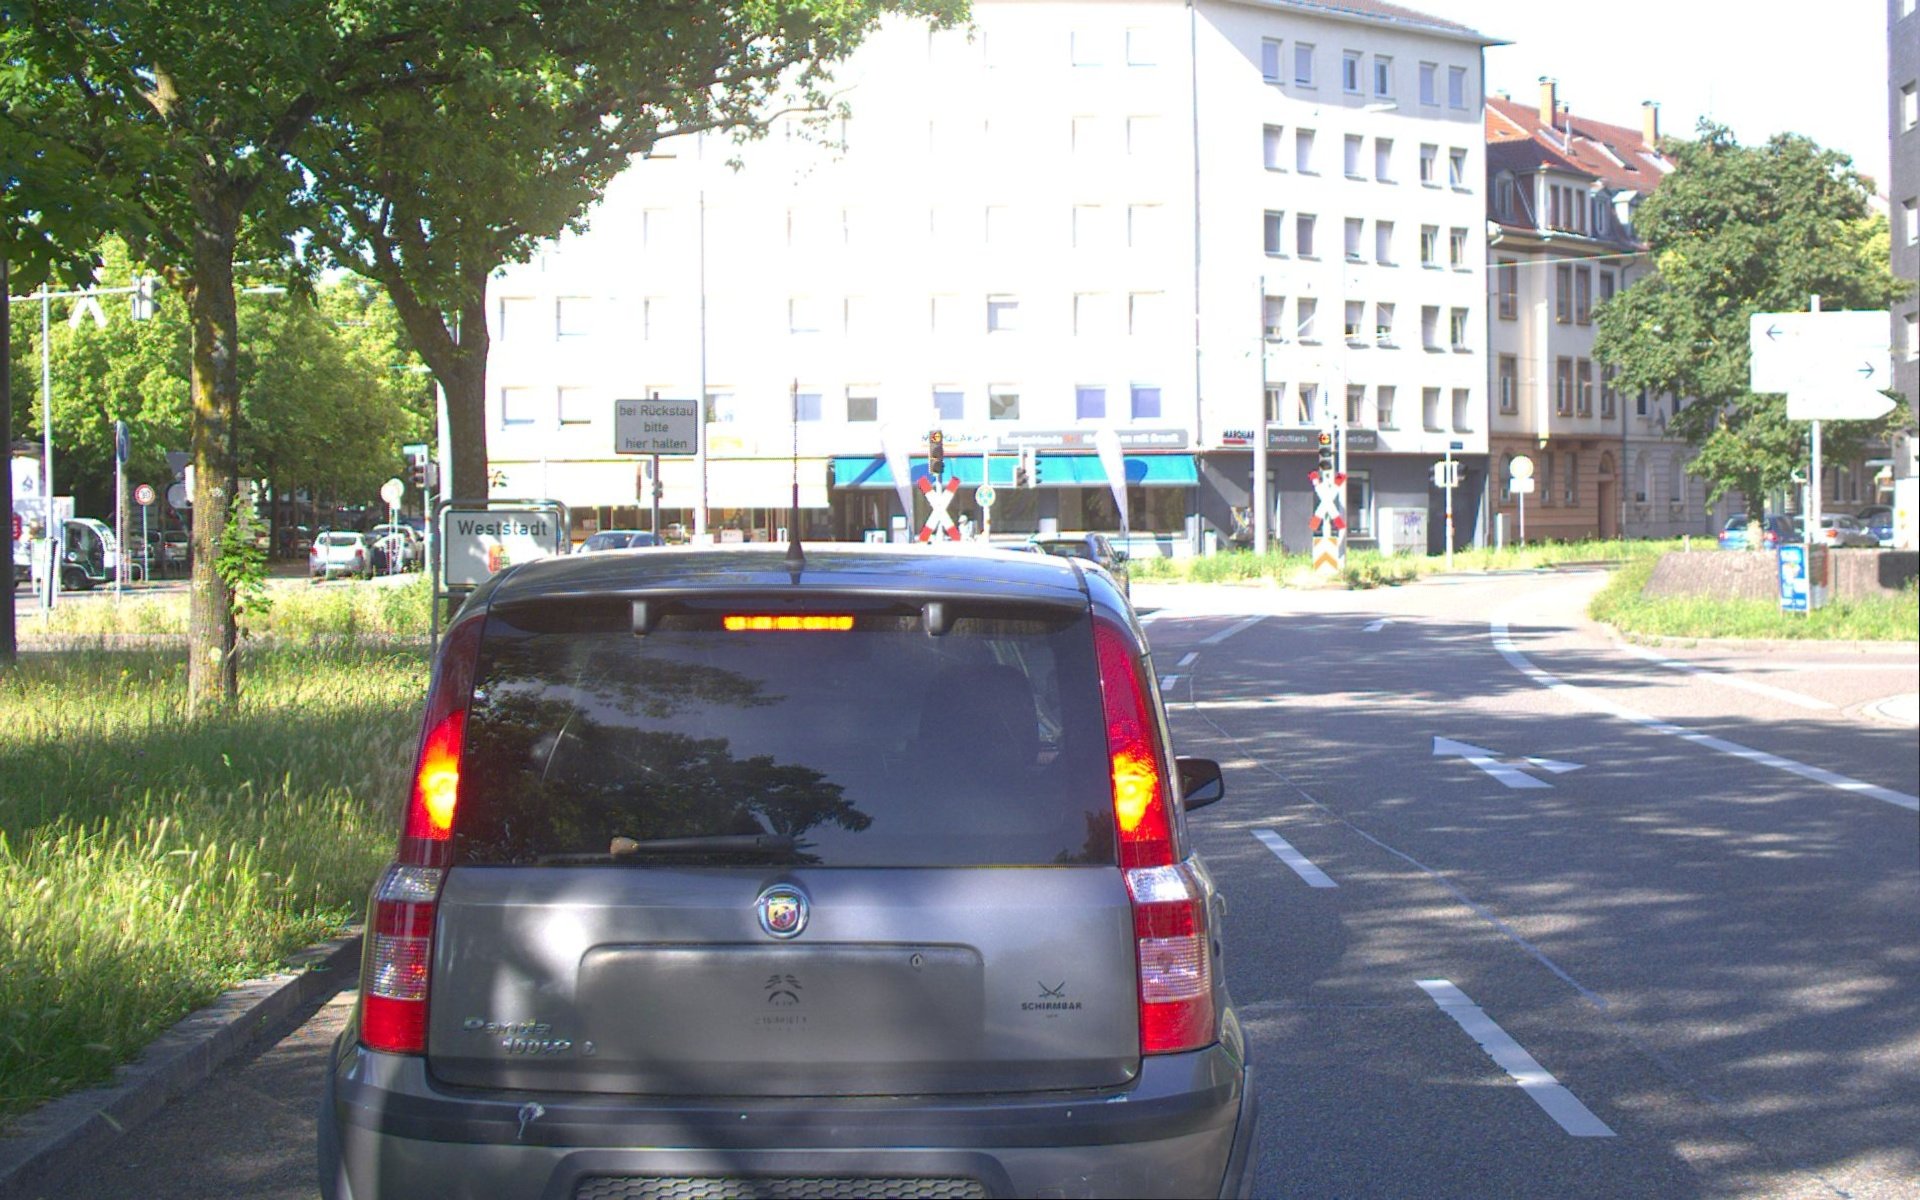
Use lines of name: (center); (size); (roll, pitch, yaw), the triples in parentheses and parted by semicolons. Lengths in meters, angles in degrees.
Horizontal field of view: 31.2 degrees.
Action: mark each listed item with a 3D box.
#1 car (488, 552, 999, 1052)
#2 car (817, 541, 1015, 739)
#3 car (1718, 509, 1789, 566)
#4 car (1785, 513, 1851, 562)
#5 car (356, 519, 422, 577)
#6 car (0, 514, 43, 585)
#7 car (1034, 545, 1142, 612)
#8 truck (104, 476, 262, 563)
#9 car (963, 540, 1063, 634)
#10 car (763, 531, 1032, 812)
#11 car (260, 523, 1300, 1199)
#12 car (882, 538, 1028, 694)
car: (-0.645, 0.561, 11.649); (1.463, 1.396, 3.393); (0, 1, -1)
car: (-0.348, 0.269, 27.295); (1.463, 1.420, 3.381); (0, 2, -1)
car: (20.881, -1.659, 90.398); (1.683, 1.444, 3.569); (0, 1, 15)
car: (23.450, -1.718, 93.890); (1.528, 1.310, 3.285); (0, 2, 18)
car: (-20.513, -1.888, 123.592); (1.993, 2.007, 4.001); (-1, 1, -4)
car: (-28.539, -1.426, 98.179); (4.176, 2.007, 1.932); (-1, 1, -2)
car: (2.170, -0.368, 57.679); (1.143, 1.060, 2.719); (0, 1, 17)
truck: (-28.878, -2.990, 127.784); (5.485, 3.158, 2.340); (0, 1, 28)
car: (0.747, -0.210, 49.605); (1.356, 1.277, 2.876); (0, 1, -1)
car: (-0.362, 0.358, 20.650); (1.463, 1.503, 3.505); (0, 2, -1)
car: (-0.302, 0.599, 7.428); (1.628, 1.503, 4.000); (-1, 1, -1)
car: (-0.062, 0.124, 33.872); (1.356, 1.444, 3.266); (-1, 1, -1)
